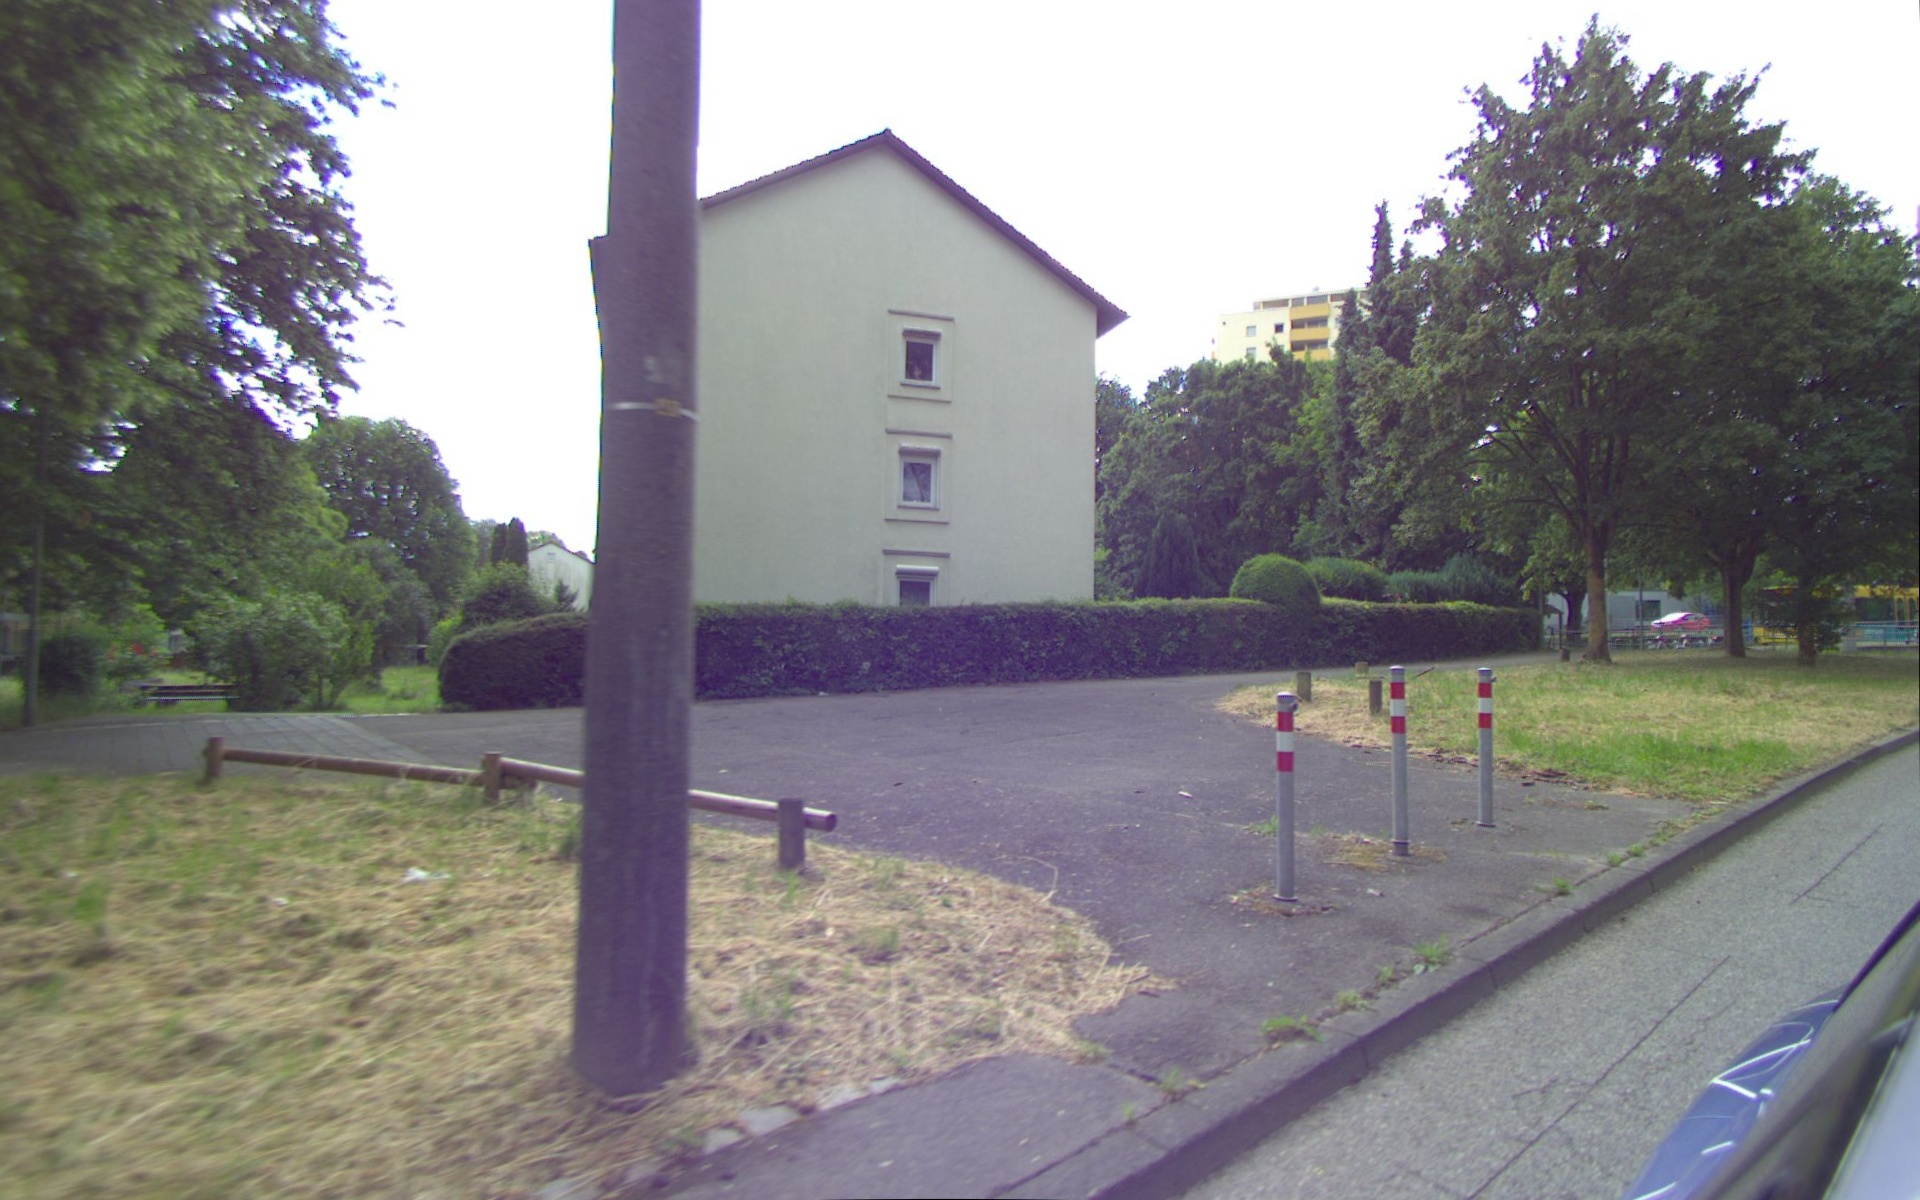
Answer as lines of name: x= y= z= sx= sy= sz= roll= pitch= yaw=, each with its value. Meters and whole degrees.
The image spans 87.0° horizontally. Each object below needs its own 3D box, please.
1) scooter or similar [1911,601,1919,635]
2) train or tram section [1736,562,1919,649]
scooter or similar: x=36.141 y=0.665 z=37.829 sx=1.229 sy=1.269 sz=0.432 roll=-2 pitch=-1 yaw=-26
train or tram section: x=44.406 y=0.335 z=46.154 sx=19.103 sy=3.637 sz=2.826 roll=0 pitch=-4 yaw=-14
